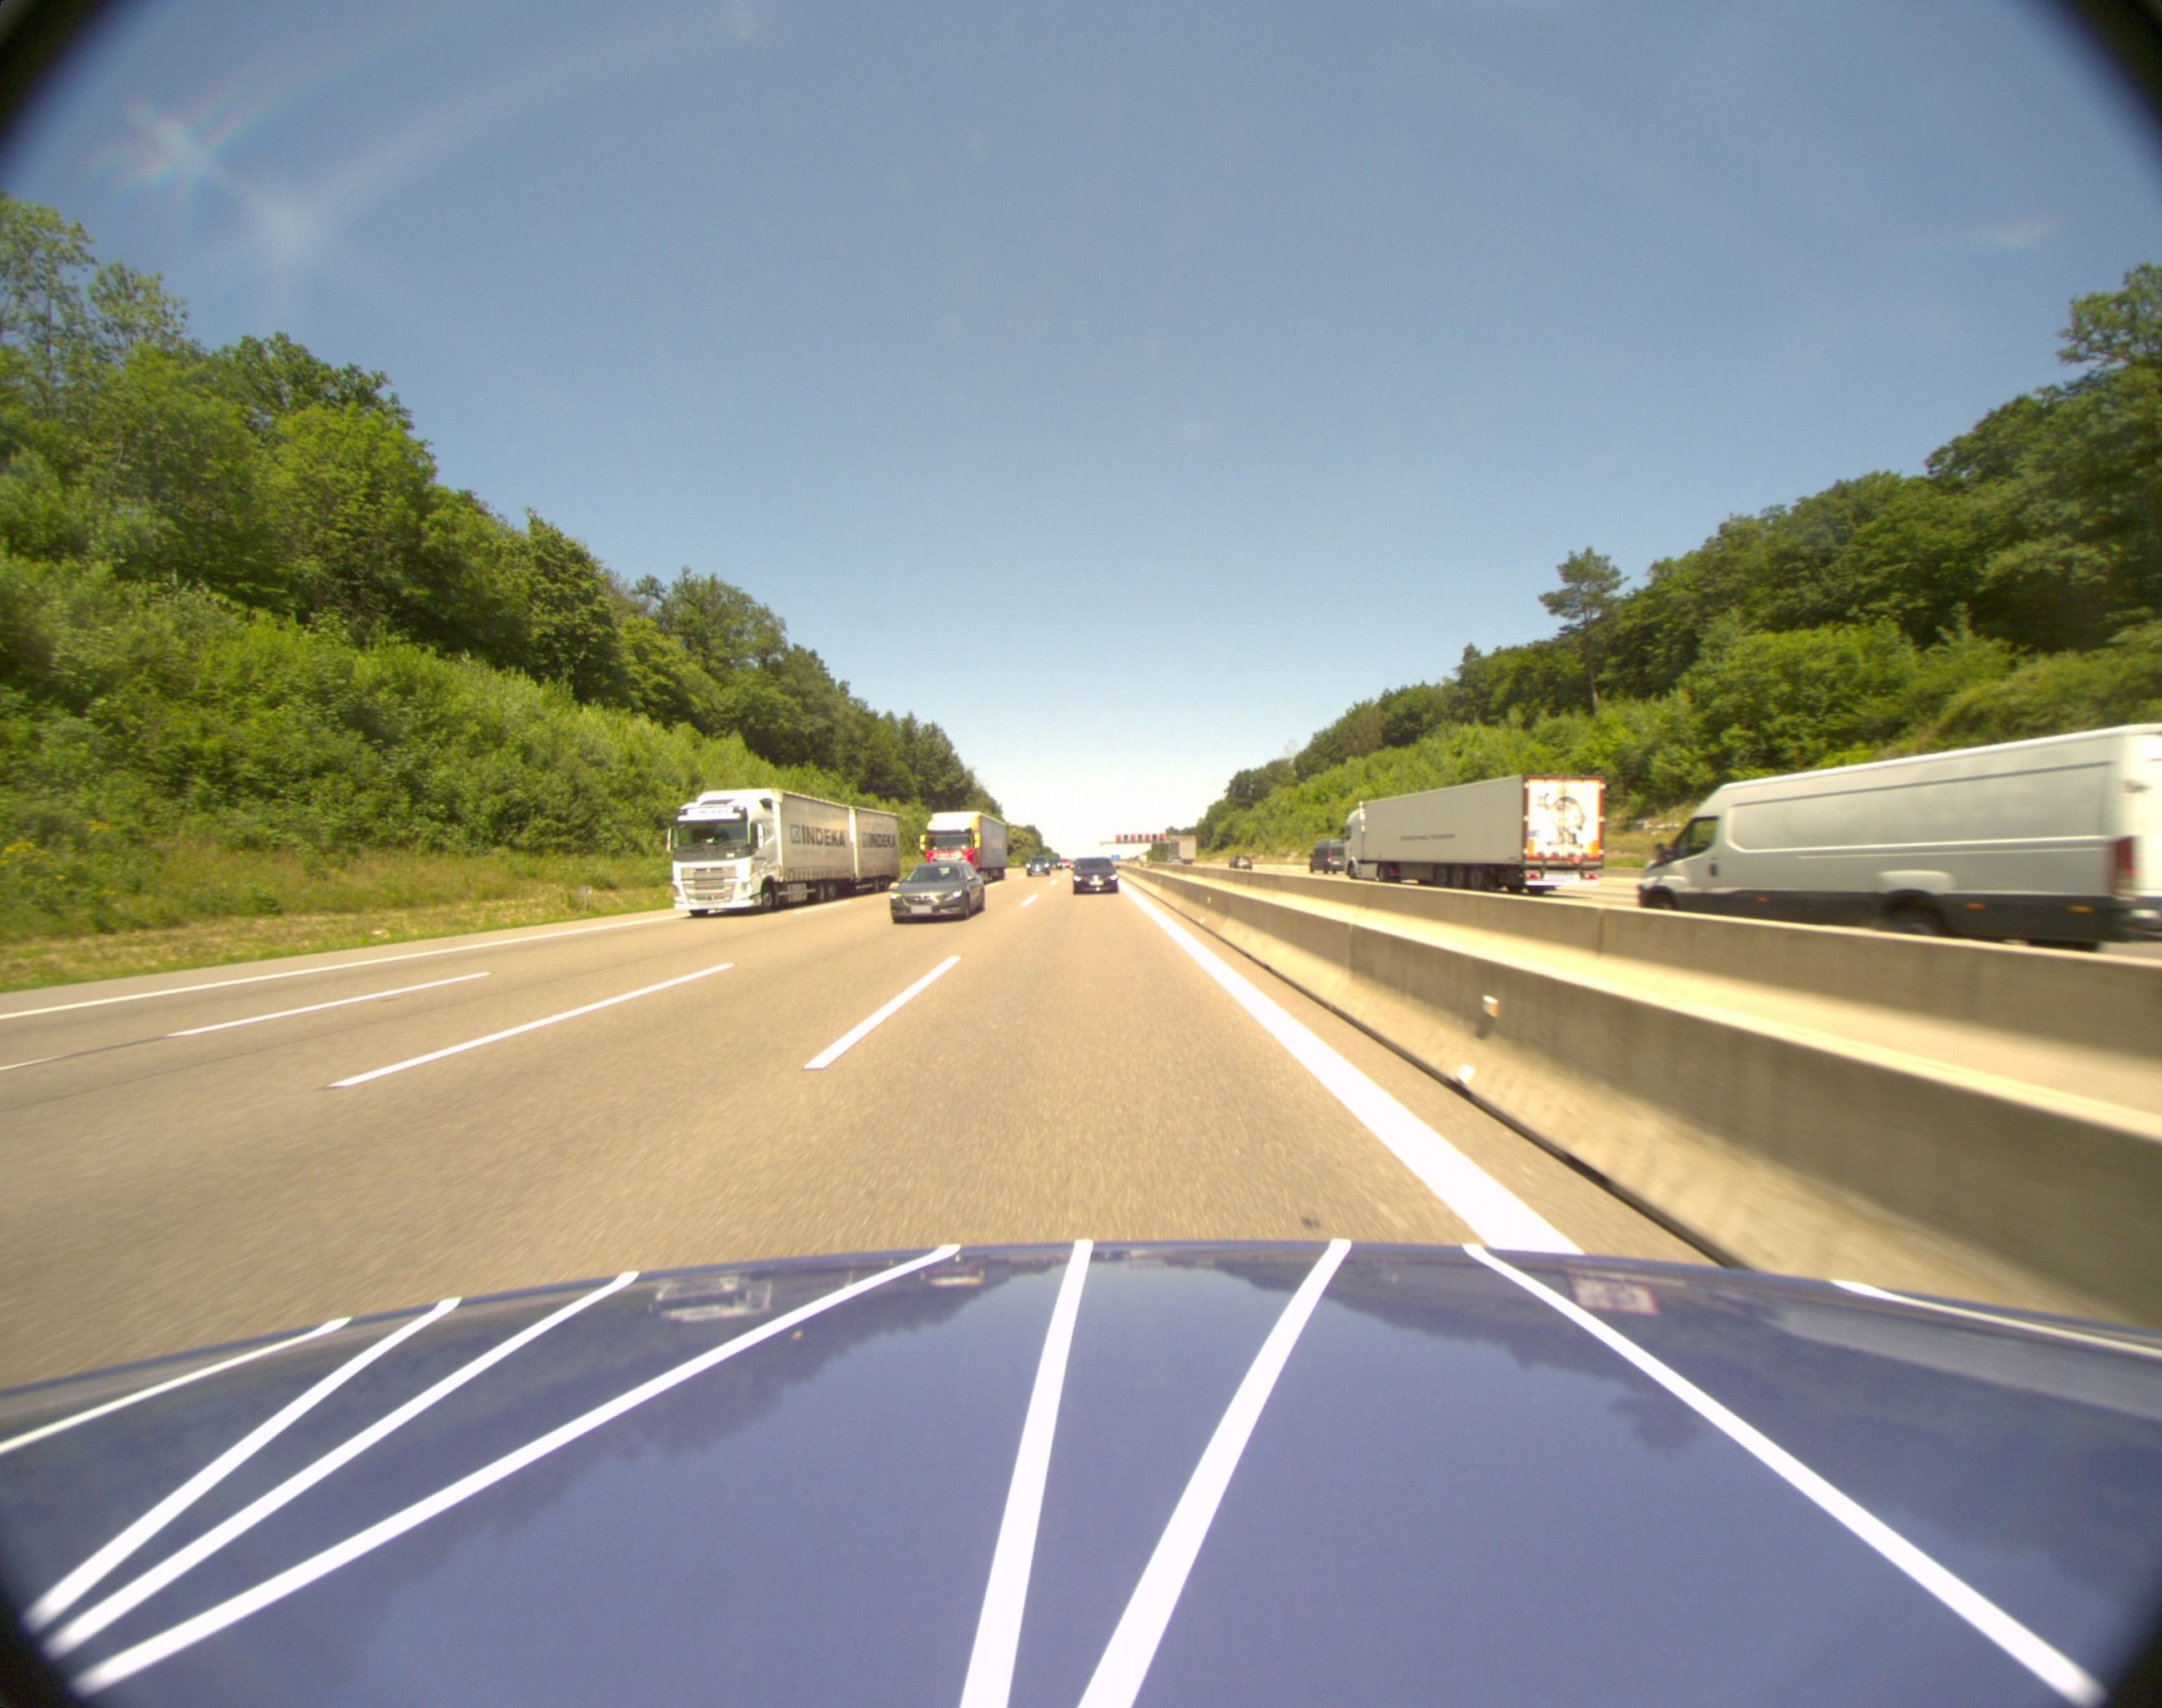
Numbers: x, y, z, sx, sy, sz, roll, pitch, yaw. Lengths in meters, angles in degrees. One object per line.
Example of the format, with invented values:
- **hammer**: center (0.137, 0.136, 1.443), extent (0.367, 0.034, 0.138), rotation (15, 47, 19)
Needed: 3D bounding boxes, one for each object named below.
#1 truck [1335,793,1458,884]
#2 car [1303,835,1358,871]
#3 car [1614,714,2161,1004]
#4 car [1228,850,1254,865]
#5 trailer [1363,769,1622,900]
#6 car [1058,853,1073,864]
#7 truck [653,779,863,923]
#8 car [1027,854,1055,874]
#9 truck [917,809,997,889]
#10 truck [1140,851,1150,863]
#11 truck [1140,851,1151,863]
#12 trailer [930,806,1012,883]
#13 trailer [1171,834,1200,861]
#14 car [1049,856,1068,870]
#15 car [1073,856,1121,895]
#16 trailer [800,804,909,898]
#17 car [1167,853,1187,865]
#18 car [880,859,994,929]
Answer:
- **truck**: center (15.457, -0.714, 37.948), extent (2.902, 4.045, 7.788), rotation (-1, 1, 0)
- **car**: center (19.383, -0.070, 59.398), extent (2.146, 2.648, 6.779), rotation (0, 0, 0)
- **car**: center (11.412, 0.012, 10.949), extent (2.090, 2.784, 7.601), rotation (0, 1, 0)
- **car**: center (15.827, 0.350, 75.150), extent (1.671, 1.399, 4.439), rotation (-1, 0, 0)
- **trailer**: center (15.483, -0.667, 30.783), extent (2.933, 4.060, 13.837), rotation (-1, 0, 0)
- **car**: center (-2.268, 0.622, 111.403), extent (1.910, 1.504, 4.160), rotation (-2, 0, 2)
- **truck**: center (-11.165, -0.118, 28.041), extent (2.729, 4.136, 10.969), rotation (-2, 0, 1)
- **car**: center (-3.309, 0.804, 62.954), extent (1.910, 1.504, 4.160), rotation (-2, 0, 2)
- **truck**: center (-6.698, -0.227, 42.233), extent (3.018, 3.958, 7.540), rotation (-2, 0, 1)
- **truck**: center (22.623, 1.057, 267.940), extent (2.666, 4.204, 8.413), rotation (3, 0, 1)
- **truck**: center (22.731, 1.129, 268.718), extent (2.919, 4.204, 9.863), rotation (-1, 0, 1)
- **trailer**: center (-6.607, -0.511, 48.491), extent (2.927, 4.119, 14.848), rotation (-1, 0, 0)
- **trailer**: center (16.878, -0.989, 123.979), extent (3.108, 4.229, 13.840), rotation (0, 0, 1)
- **car**: center (-2.681, 1.088, 91.162), extent (1.910, 1.504, 4.160), rotation (-2, 0, 2)
- **car**: center (0.635, 0.845, 30.742), extent (1.778, 1.425, 4.144), rotation (-3, -1, 1)
- **trailer**: center (-10.945, -0.171, 37.680), extent (2.585, 4.046, 8.382), rotation (-2, 0, 1)
- **car**: center (12.242, 0.607, 97.432), extent (2.032, 1.497, 5.441), rotation (-1, 0, 1)
- **car**: center (-3.691, 0.968, 20.497), extent (1.972, 1.444, 5.223), rotation (-3, 1, 0)
